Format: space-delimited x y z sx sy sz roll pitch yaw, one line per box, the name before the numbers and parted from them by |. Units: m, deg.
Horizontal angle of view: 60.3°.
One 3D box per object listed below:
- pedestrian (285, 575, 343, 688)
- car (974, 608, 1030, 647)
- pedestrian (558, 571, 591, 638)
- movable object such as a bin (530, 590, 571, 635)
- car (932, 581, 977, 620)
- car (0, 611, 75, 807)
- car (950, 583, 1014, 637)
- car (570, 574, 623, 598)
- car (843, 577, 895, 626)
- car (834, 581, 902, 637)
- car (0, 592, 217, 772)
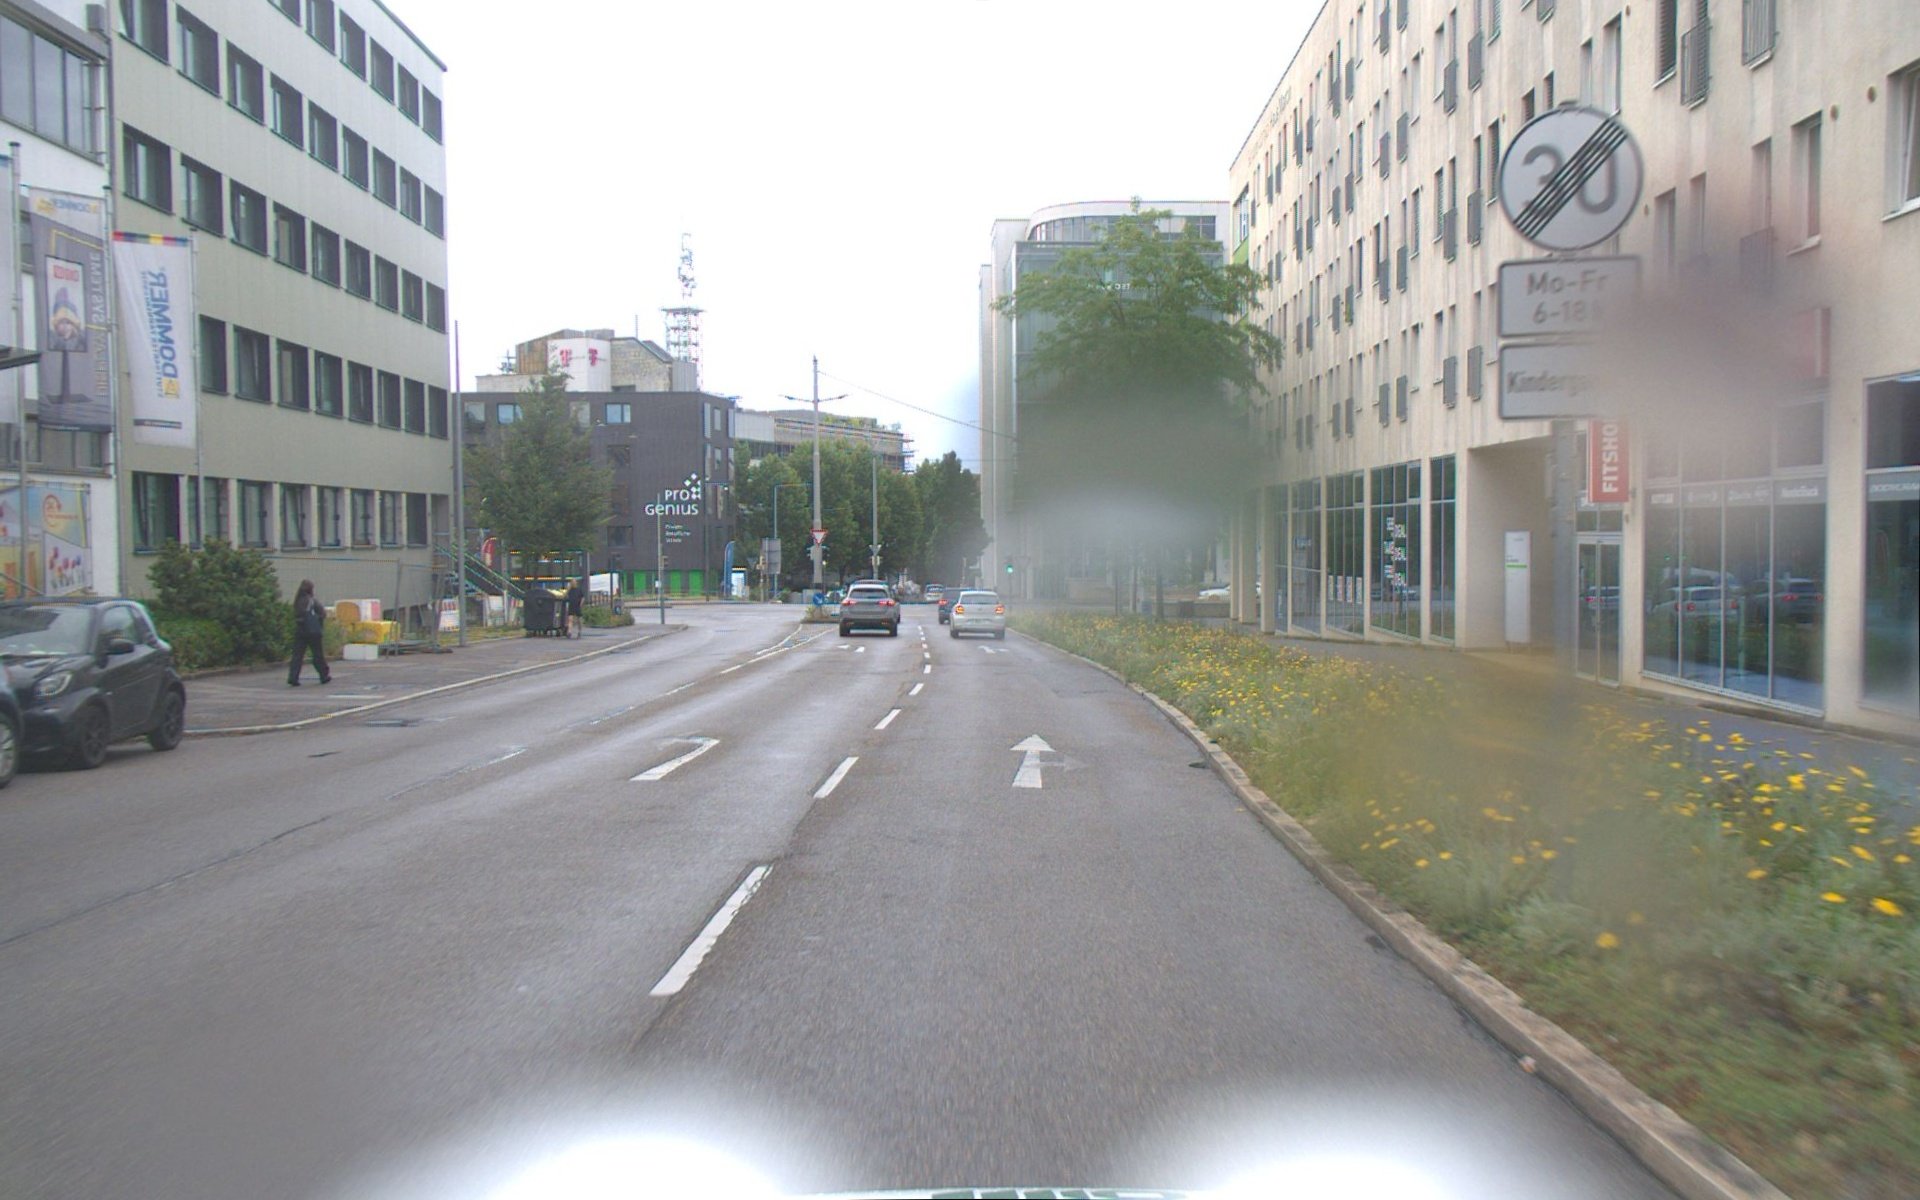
pedestrian | -10.227 0.489 26.169 0.720 1.738 0.894 0 -1 -29
car | 1.682 1.115 67.355 1.954 1.534 3.997 0 0 -3
pedestrian | -11.664 0.140 49.996 0.943 1.989 0.776 0 0 -15
movable object such as a bin | -12.465 0.361 50.336 1.185 1.344 0.871 0 0 -14
car | -0.267 -0.004 76.333 1.953 1.780 3.671 0 1 -2
car | -8.261 0.840 11.774 1.876 1.507 4.352 0 0 -5
car | 0.736 0.277 52.393 1.952 1.604 3.997 0 1 1
car | -31.141 -1.204 141.772 3.902 2.049 2.002 0 0 10
car | -3.611 0.061 64.744 1.954 1.850 3.996 0 0 -4
car | -2.949 0.279 53.643 2.098 1.758 3.998 0 0 -2
car | -8.630 0.724 16.048 1.533 1.541 3.168 -2 1 -4
